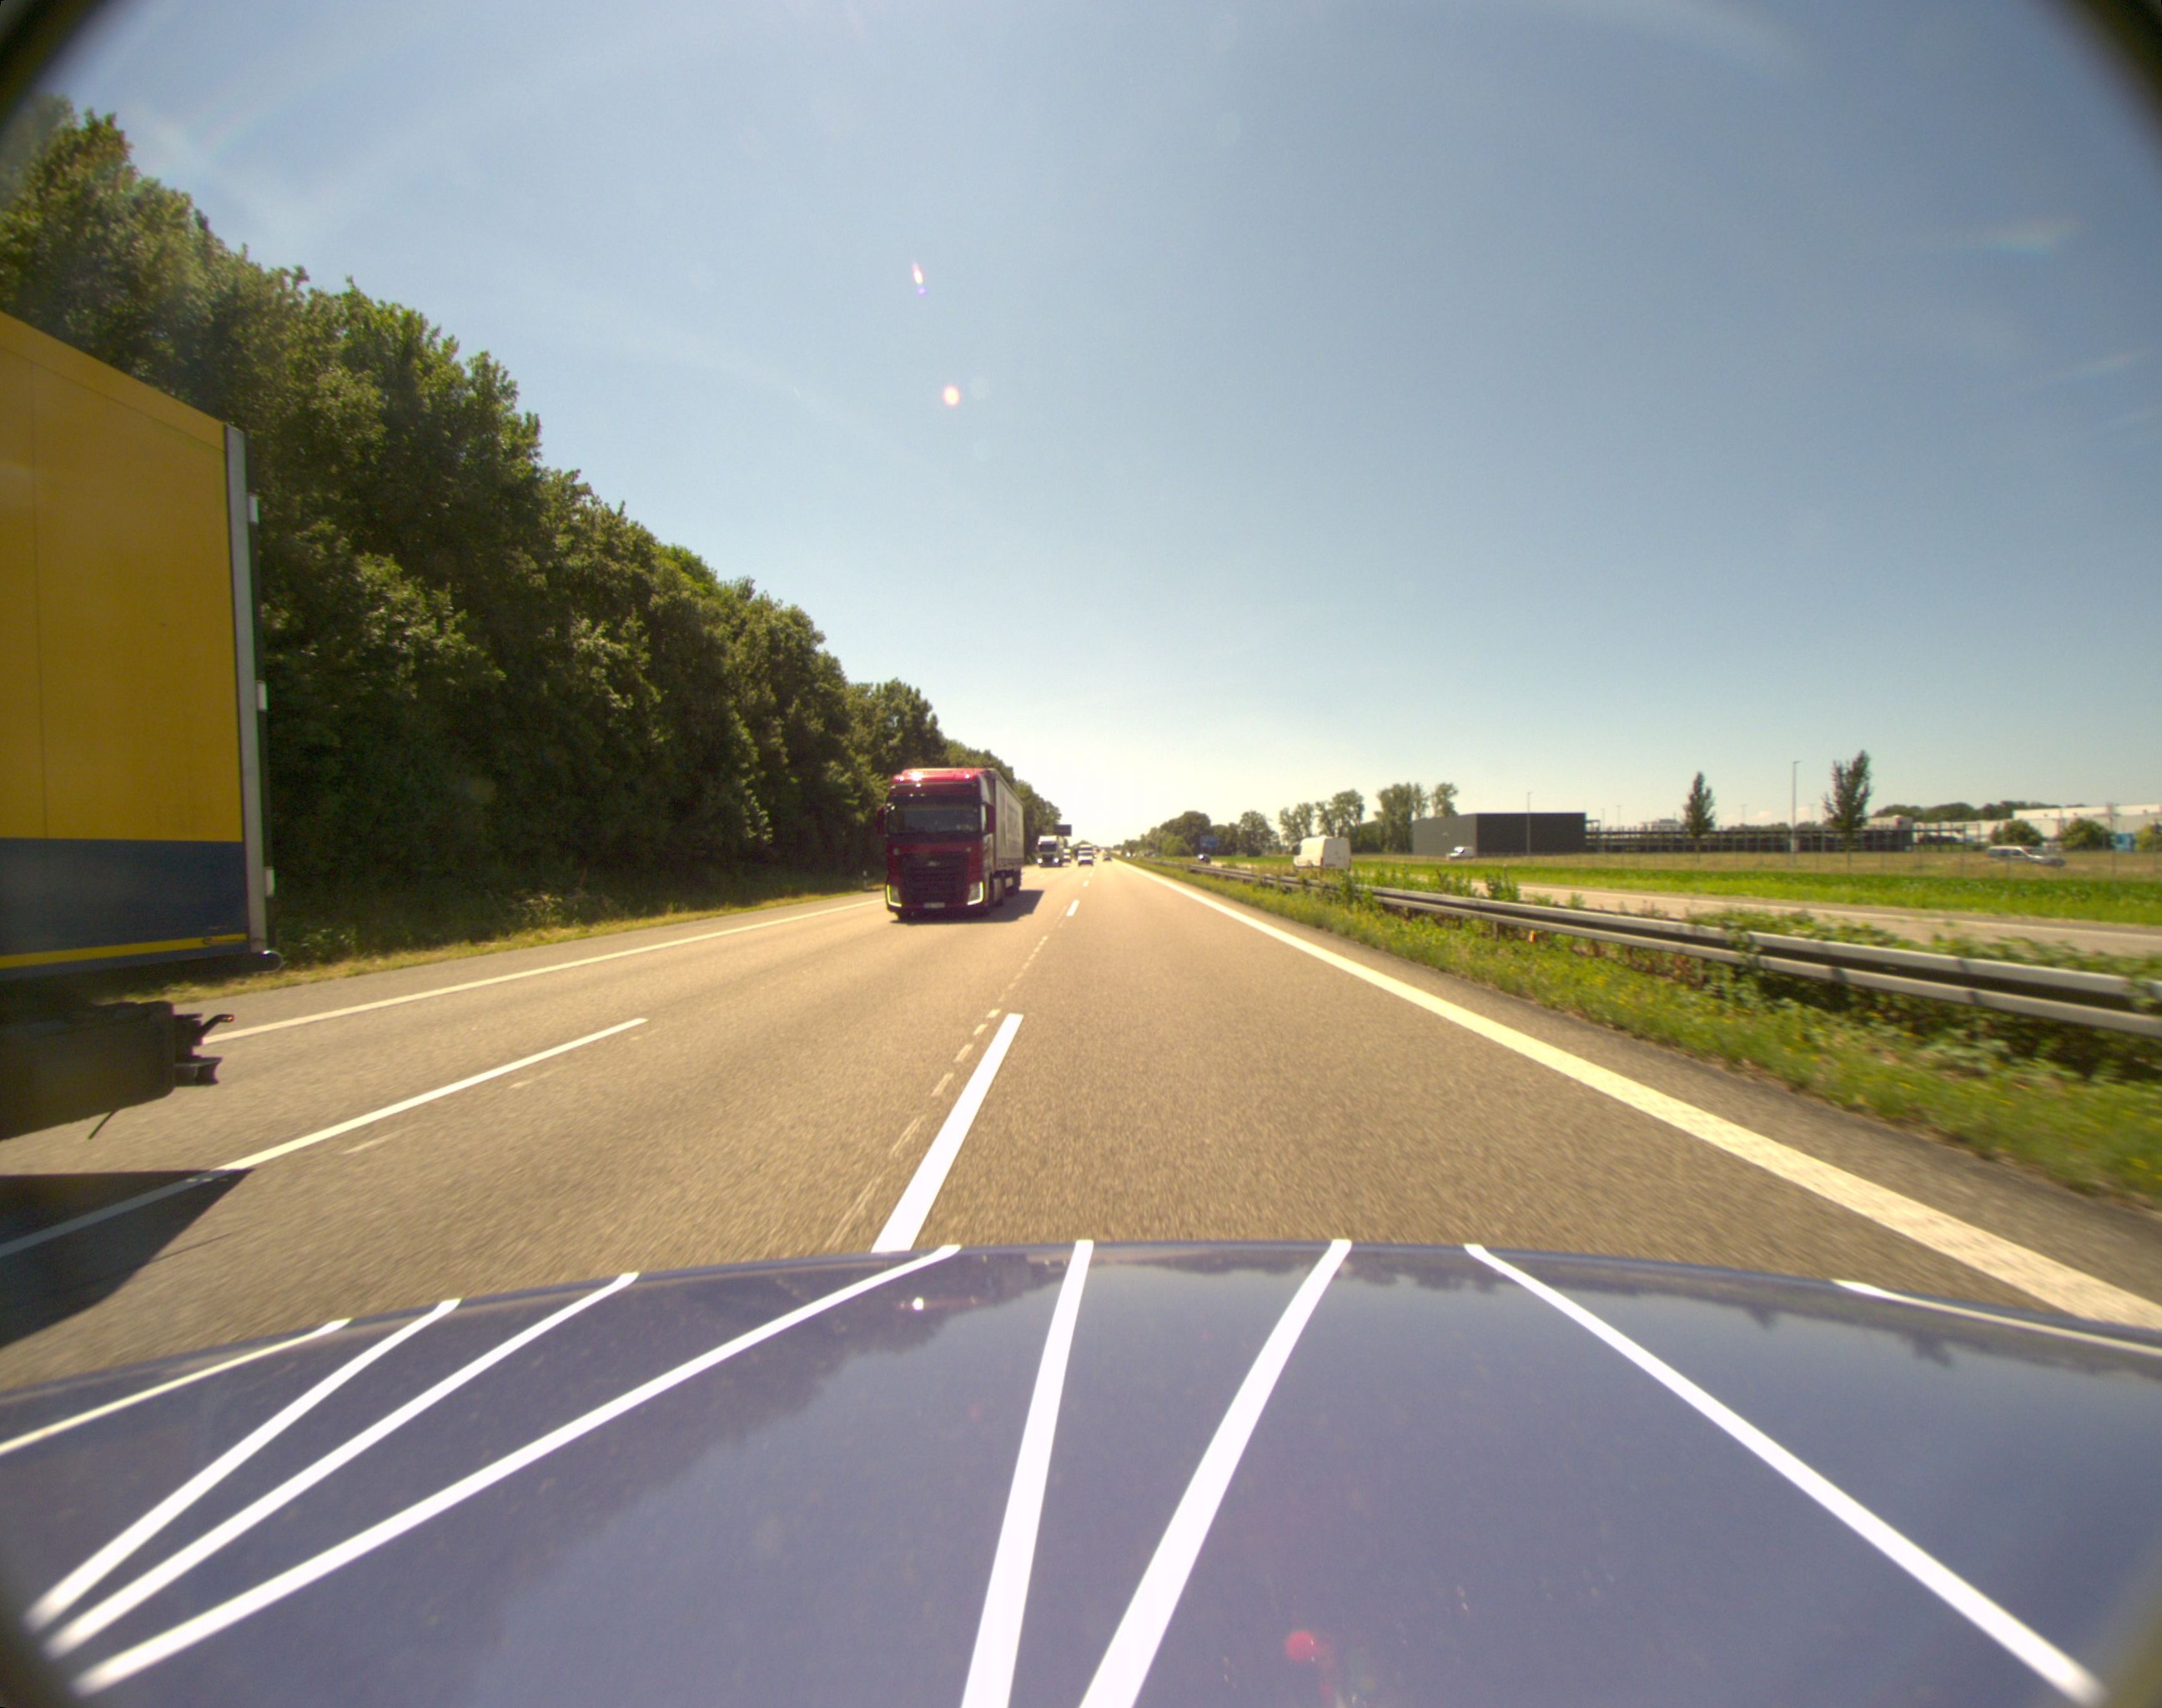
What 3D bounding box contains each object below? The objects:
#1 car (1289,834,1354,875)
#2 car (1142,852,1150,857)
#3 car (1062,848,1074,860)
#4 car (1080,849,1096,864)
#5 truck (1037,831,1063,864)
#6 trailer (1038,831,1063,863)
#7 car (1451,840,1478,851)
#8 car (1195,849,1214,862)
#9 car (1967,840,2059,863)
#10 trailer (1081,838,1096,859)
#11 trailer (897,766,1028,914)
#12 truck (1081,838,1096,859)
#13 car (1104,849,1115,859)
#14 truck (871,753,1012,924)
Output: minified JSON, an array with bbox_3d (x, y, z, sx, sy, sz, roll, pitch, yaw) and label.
[{"bbox_3d":[16.169,0.019,51.582,2.072,2.539,7.934,0,0,1],"label":"car"},{"bbox_3d":[15.488,0.140,181.131,1.729,1.344,4.369,0,0,1],"label":"car"},{"bbox_3d":[-2.417,-0.002,143.318,2.073,2.328,5.767,0,0,0],"label":"car"},{"bbox_3d":[0.926,0.298,100.298,2.073,1.823,5.109,0,0,0],"label":"car"},{"bbox_3d":[-3.993,-0.830,98.585,3.064,4.046,5.770,-2,0,-1],"label":"truck"},{"bbox_3d":[-4.153,-0.879,105.277,3.057,4.046,13.832,-2,0,-1],"label":"trailer"},{"bbox_3d":[78.883,-1.819,156.418,2.559,2.235,6.082,0,0,1],"label":"car"},{"bbox_3d":[17.847,0.217,110.289,2.019,1.735,4.910,0,0,1],"label":"car"},{"bbox_3d":[71.505,-0.185,58.419,1.831,1.726,4.269,0,0,1],"label":"car"},{"bbox_3d":[1.603,-1.175,163.689,3.005,4.046,13.834,-2,0,1],"label":"trailer"},{"bbox_3d":[-3.801,-0.409,28.170,2.886,4.046,13.832,-2,0,-1],"label":"trailer"},{"bbox_3d":[1.550,-1.141,156.247,2.998,4.046,5.771,-2,0,1],"label":"truck"},{"bbox_3d":[5.618,0.028,151.300,2.073,1.959,5.109,0,0,0],"label":"car"},{"bbox_3d":[-3.629,-0.380,21.277,2.870,4.046,5.770,-2,0,-1],"label":"truck"}]
